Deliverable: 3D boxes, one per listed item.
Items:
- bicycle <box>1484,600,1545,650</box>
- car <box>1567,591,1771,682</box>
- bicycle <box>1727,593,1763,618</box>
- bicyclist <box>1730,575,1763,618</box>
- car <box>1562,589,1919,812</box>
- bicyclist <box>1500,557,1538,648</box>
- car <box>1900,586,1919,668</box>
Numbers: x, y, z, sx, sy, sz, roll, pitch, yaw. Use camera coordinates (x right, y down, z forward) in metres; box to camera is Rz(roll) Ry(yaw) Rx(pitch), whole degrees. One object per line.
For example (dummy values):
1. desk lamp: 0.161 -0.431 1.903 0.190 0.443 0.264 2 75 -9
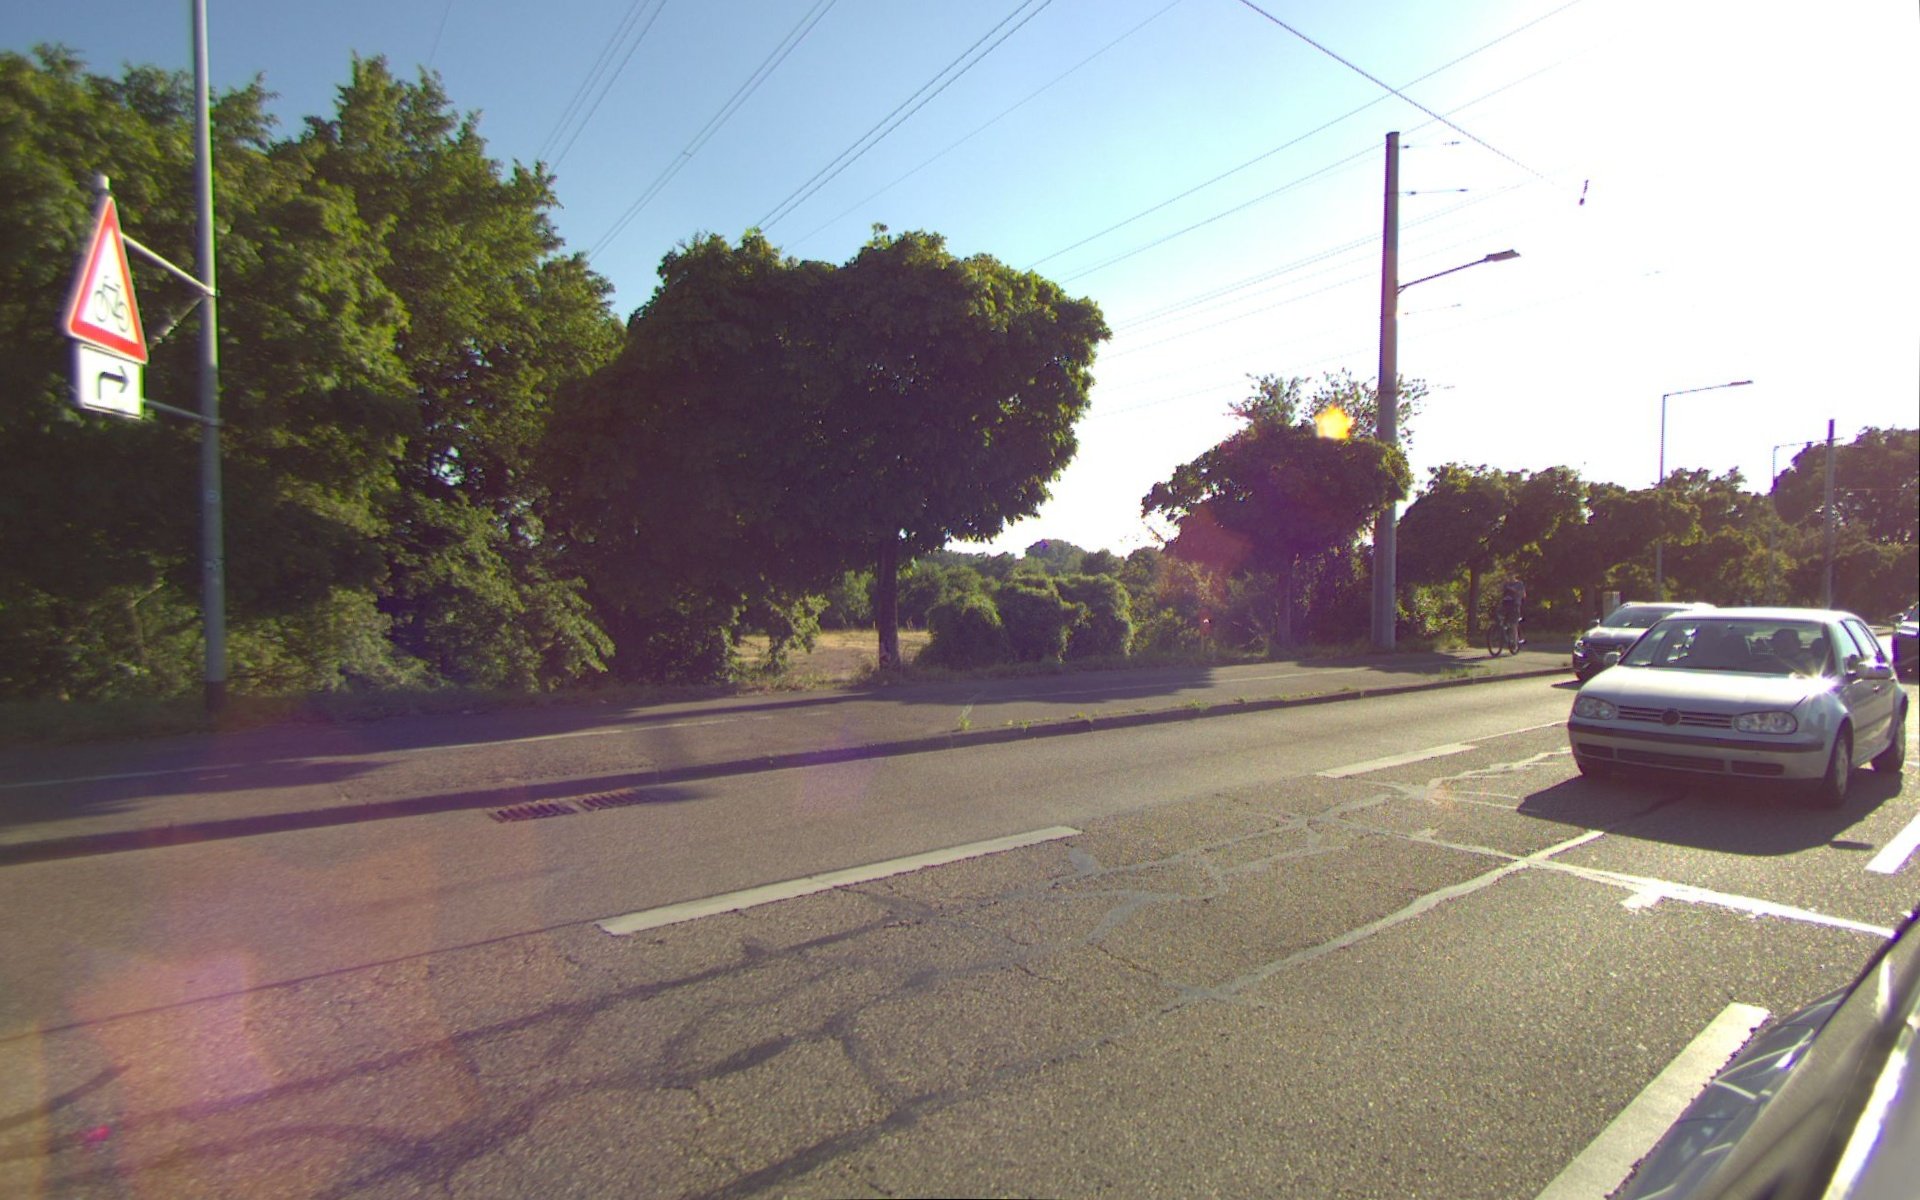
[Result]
1. bicycle: 12.567 0.543 22.917 1.936 1.074 0.528 -1 0 -39
2. car: 13.325 0.584 18.926 4.575 1.461 1.881 -1 1 -38
3. bicycle: 28.378 0.197 36.585 1.605 0.844 0.629 0 5 -39
4. bicyclist: 28.465 -0.129 36.615 1.041 1.488 0.629 0 5 -39
5. car: 6.853 0.648 8.662 3.930 1.463 1.695 -1 1 -40
6. bicyclist: 12.739 0.054 23.062 0.716 2.042 0.528 0 -1 -39
7. car: 21.005 0.521 20.793 4.337 1.620 1.881 -1 1 -39
